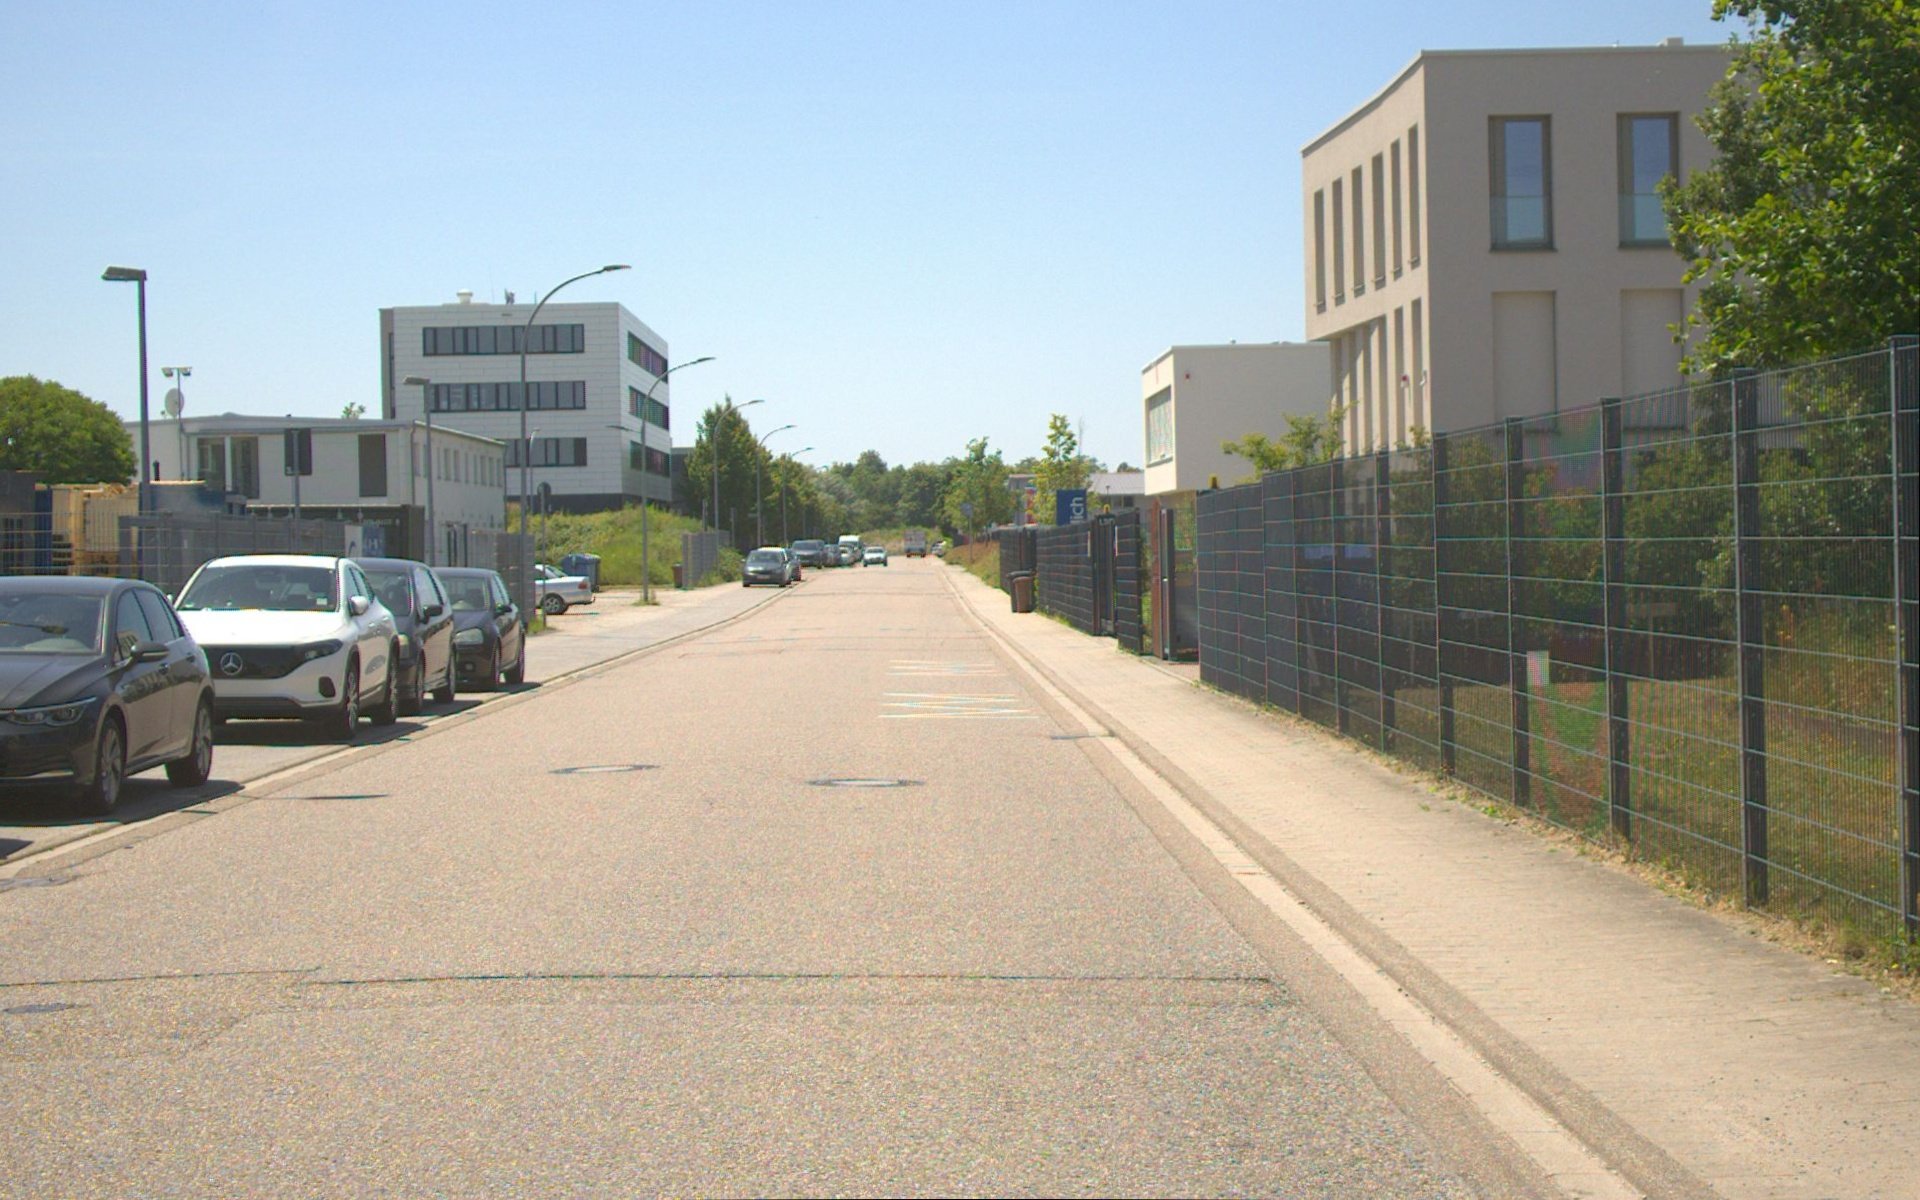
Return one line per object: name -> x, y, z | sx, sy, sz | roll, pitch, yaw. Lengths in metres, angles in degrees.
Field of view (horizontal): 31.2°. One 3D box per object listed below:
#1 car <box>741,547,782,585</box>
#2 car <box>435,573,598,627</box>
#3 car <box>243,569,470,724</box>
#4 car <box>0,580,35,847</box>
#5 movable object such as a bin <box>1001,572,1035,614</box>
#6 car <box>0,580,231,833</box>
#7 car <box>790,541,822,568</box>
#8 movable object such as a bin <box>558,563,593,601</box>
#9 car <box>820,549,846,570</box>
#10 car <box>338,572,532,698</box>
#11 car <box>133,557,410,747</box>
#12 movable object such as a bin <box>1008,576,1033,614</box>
car -> -7.914, -1.351, 137.094 | 1.466, 1.484, 3.207 | -1, 1, 0
car -> -12.340, -0.007, 95.842 | 4.277, 1.360, 1.898 | -1, 1, 0
car -> -6.362, 0.448, 36.698 | 1.769, 1.551, 4.502 | 0, 0, -2
car -> -6.141, 0.643, 17.338 | 1.775, 1.476, 4.816 | 0, 1, -2
movable object such as a bin -> 1.533, -0.179, 90.299 | 0.779, 1.016, 0.665 | -5, 2, 4
car -> -6.132, 0.620, 22.538 | 1.857, 1.476, 4.229 | 0, 1, -1
car -> -8.603, -2.520, 192.068 | 1.644, 1.484, 3.207 | -1, 1, 0
movable object such as a bin -> -14.626, -0.693, 130.798 | 1.285, 1.407, 1.807 | -1, 1, -5
car -> -9.550, -3.076, 258.953 | 1.804, 1.551, 4.000 | -1, 1, -1
car -> -6.397, 0.391, 42.314 | 1.769, 1.456, 4.333 | 0, 0, -1
car -> -6.145, 0.420, 31.120 | 1.769, 1.586, 4.360 | 0, 0, -2
movable object such as a bin -> 1.562, -0.126, 89.209 | 0.552, 0.925, 0.522 | -5, 2, 4
